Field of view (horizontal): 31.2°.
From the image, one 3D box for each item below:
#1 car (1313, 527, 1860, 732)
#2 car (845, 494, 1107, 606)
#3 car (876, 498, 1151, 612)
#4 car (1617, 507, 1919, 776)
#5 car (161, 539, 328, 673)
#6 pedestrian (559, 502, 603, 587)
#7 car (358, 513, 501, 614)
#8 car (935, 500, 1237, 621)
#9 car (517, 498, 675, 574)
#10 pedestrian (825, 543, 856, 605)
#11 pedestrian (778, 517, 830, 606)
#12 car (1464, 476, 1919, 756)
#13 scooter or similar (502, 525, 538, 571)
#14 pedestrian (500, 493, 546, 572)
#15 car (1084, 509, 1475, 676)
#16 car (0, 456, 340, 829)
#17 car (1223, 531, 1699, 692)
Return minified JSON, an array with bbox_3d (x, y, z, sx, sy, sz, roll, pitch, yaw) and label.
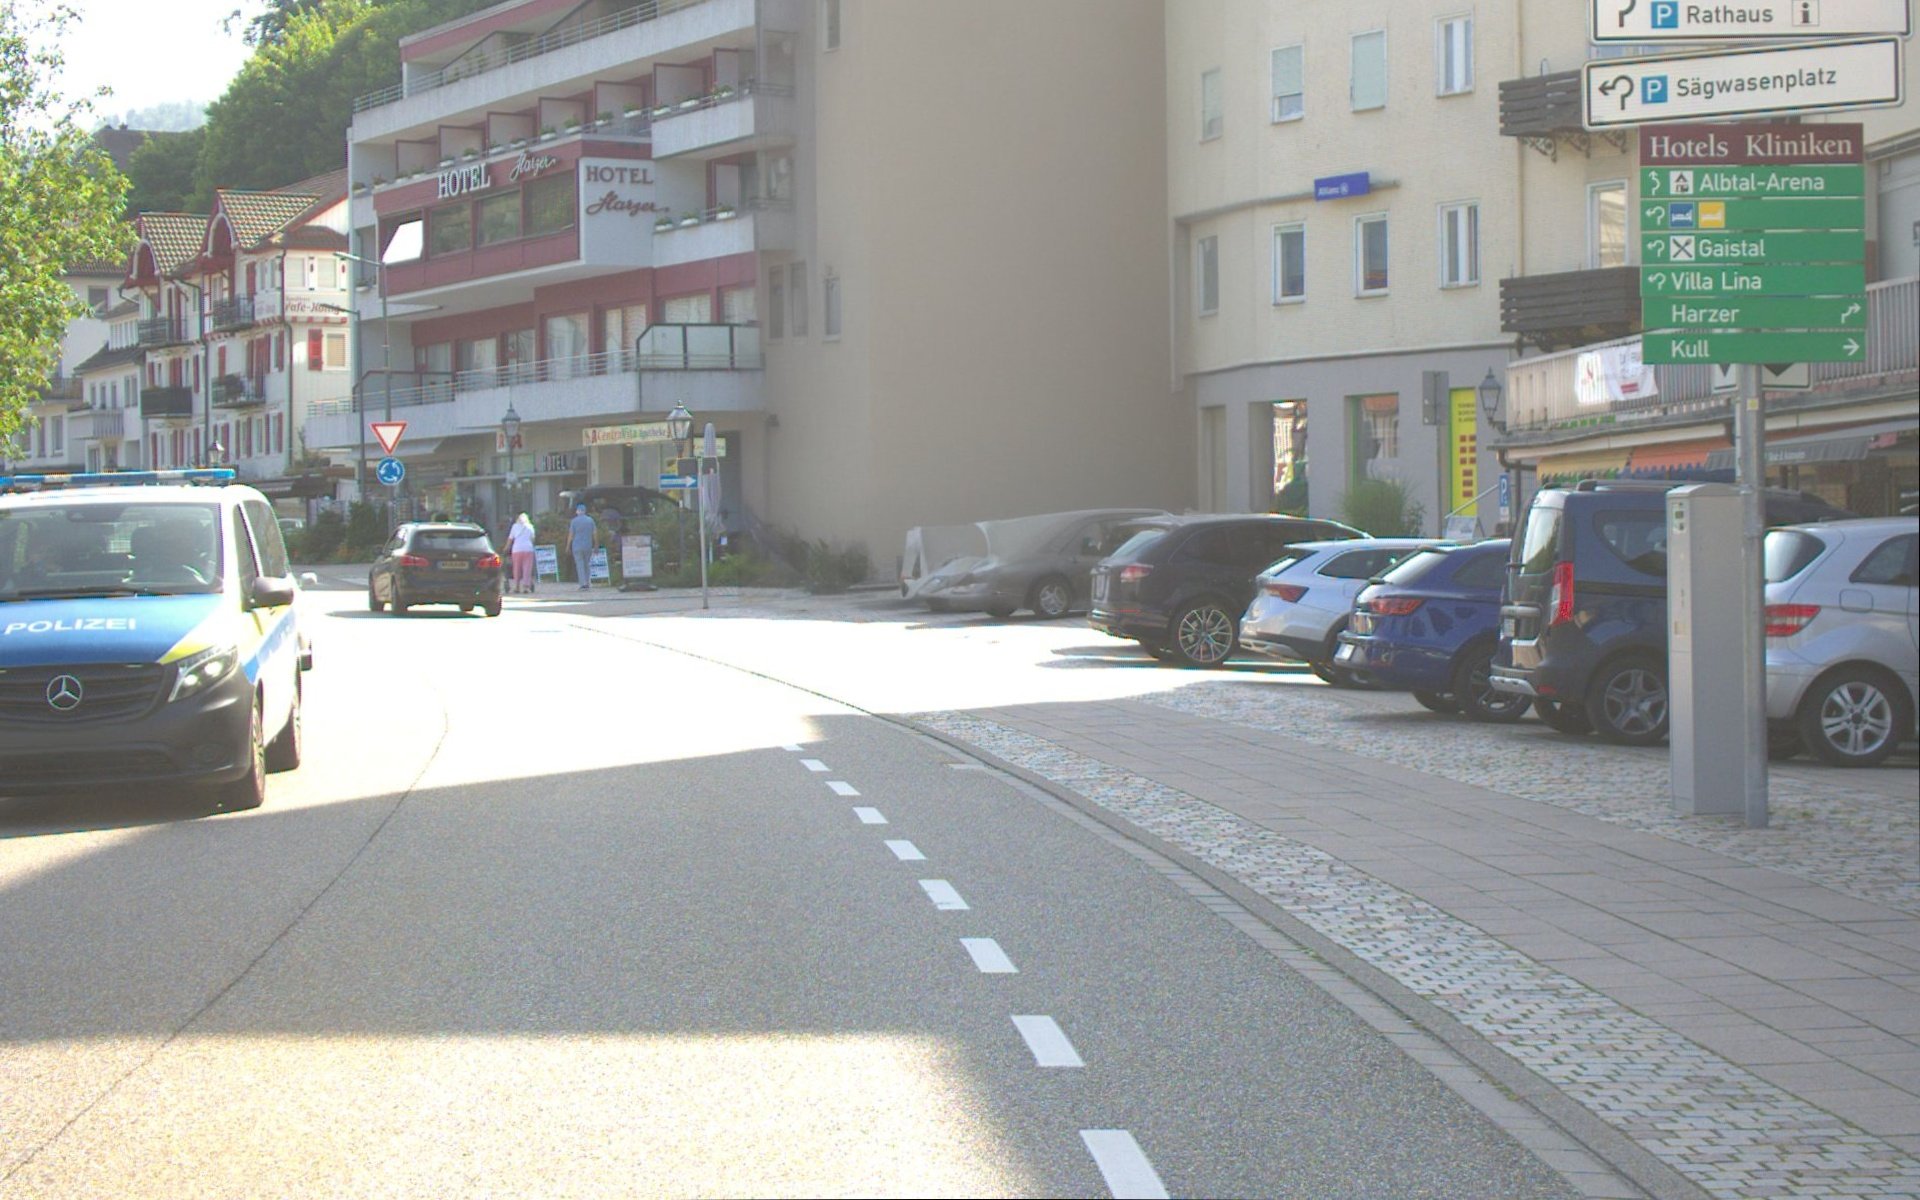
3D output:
[{"bbox_3d":[4.907,0.214,27.257,3.909,1.456,1.736,2,1,-4],"label":"car"},{"bbox_3d":[0.270,-0.841,56.565,3.860,1.607,1.773,-4,3,-24],"label":"car"},{"bbox_3d":[0.842,-0.726,53.868,3.860,1.544,1.773,-4,3,-24],"label":"car"},{"bbox_3d":[6.348,0.278,21.794,3.909,1.583,1.775,2,1,-4],"label":"car"},{"bbox_3d":[-8.017,0.032,38.768,1.627,1.366,4.064,-2,1,-9],"label":"car"},{"bbox_3d":[-7.680,-1.122,69.648,0.668,1.723,0.708,0,1,-27],"label":"pedestrian"},{"bbox_3d":[-8.992,-0.641,58.073,1.727,1.569,3.754,0,3,-20],"label":"car"},{"bbox_3d":[1.858,-0.608,50.471,4.009,1.511,1.773,-4,3,-24],"label":"car"},{"bbox_3d":[-8.097,-1.430,76.438,3.162,1.657,1.595,0,1,-25],"label":"car"},{"bbox_3d":[-1.979,-0.435,57.092,0.417,0.998,0.531,-2,1,5],"label":"pedestrian"},{"bbox_3d":[-2.596,-0.640,57.144,0.735,1.437,0.633,-2,1,-10],"label":"pedestrian"},{"bbox_3d":[5.767,0.135,24.548,3.909,1.798,1.858,3,0,-4],"label":"car"},{"bbox_3d":[-8.942,-1.058,69.865,0.596,0.947,0.474,0,1,-27],"label":"scooter or similar"},{"bbox_3d":[-8.857,-1.360,69.692,0.757,1.588,0.628,0,1,-27],"label":"pedestrian"},{"bbox_3d":[3.556,-0.093,38.717,4.083,1.660,1.773,3,1,-4],"label":"car"},{"bbox_3d":[-4.964,0.201,20.817,1.854,1.946,5.018,-2,1,-5],"label":"car"},{"bbox_3d":[4.864,0.121,33.759,4.356,1.456,1.772,1,-1,-2],"label":"car"}]
